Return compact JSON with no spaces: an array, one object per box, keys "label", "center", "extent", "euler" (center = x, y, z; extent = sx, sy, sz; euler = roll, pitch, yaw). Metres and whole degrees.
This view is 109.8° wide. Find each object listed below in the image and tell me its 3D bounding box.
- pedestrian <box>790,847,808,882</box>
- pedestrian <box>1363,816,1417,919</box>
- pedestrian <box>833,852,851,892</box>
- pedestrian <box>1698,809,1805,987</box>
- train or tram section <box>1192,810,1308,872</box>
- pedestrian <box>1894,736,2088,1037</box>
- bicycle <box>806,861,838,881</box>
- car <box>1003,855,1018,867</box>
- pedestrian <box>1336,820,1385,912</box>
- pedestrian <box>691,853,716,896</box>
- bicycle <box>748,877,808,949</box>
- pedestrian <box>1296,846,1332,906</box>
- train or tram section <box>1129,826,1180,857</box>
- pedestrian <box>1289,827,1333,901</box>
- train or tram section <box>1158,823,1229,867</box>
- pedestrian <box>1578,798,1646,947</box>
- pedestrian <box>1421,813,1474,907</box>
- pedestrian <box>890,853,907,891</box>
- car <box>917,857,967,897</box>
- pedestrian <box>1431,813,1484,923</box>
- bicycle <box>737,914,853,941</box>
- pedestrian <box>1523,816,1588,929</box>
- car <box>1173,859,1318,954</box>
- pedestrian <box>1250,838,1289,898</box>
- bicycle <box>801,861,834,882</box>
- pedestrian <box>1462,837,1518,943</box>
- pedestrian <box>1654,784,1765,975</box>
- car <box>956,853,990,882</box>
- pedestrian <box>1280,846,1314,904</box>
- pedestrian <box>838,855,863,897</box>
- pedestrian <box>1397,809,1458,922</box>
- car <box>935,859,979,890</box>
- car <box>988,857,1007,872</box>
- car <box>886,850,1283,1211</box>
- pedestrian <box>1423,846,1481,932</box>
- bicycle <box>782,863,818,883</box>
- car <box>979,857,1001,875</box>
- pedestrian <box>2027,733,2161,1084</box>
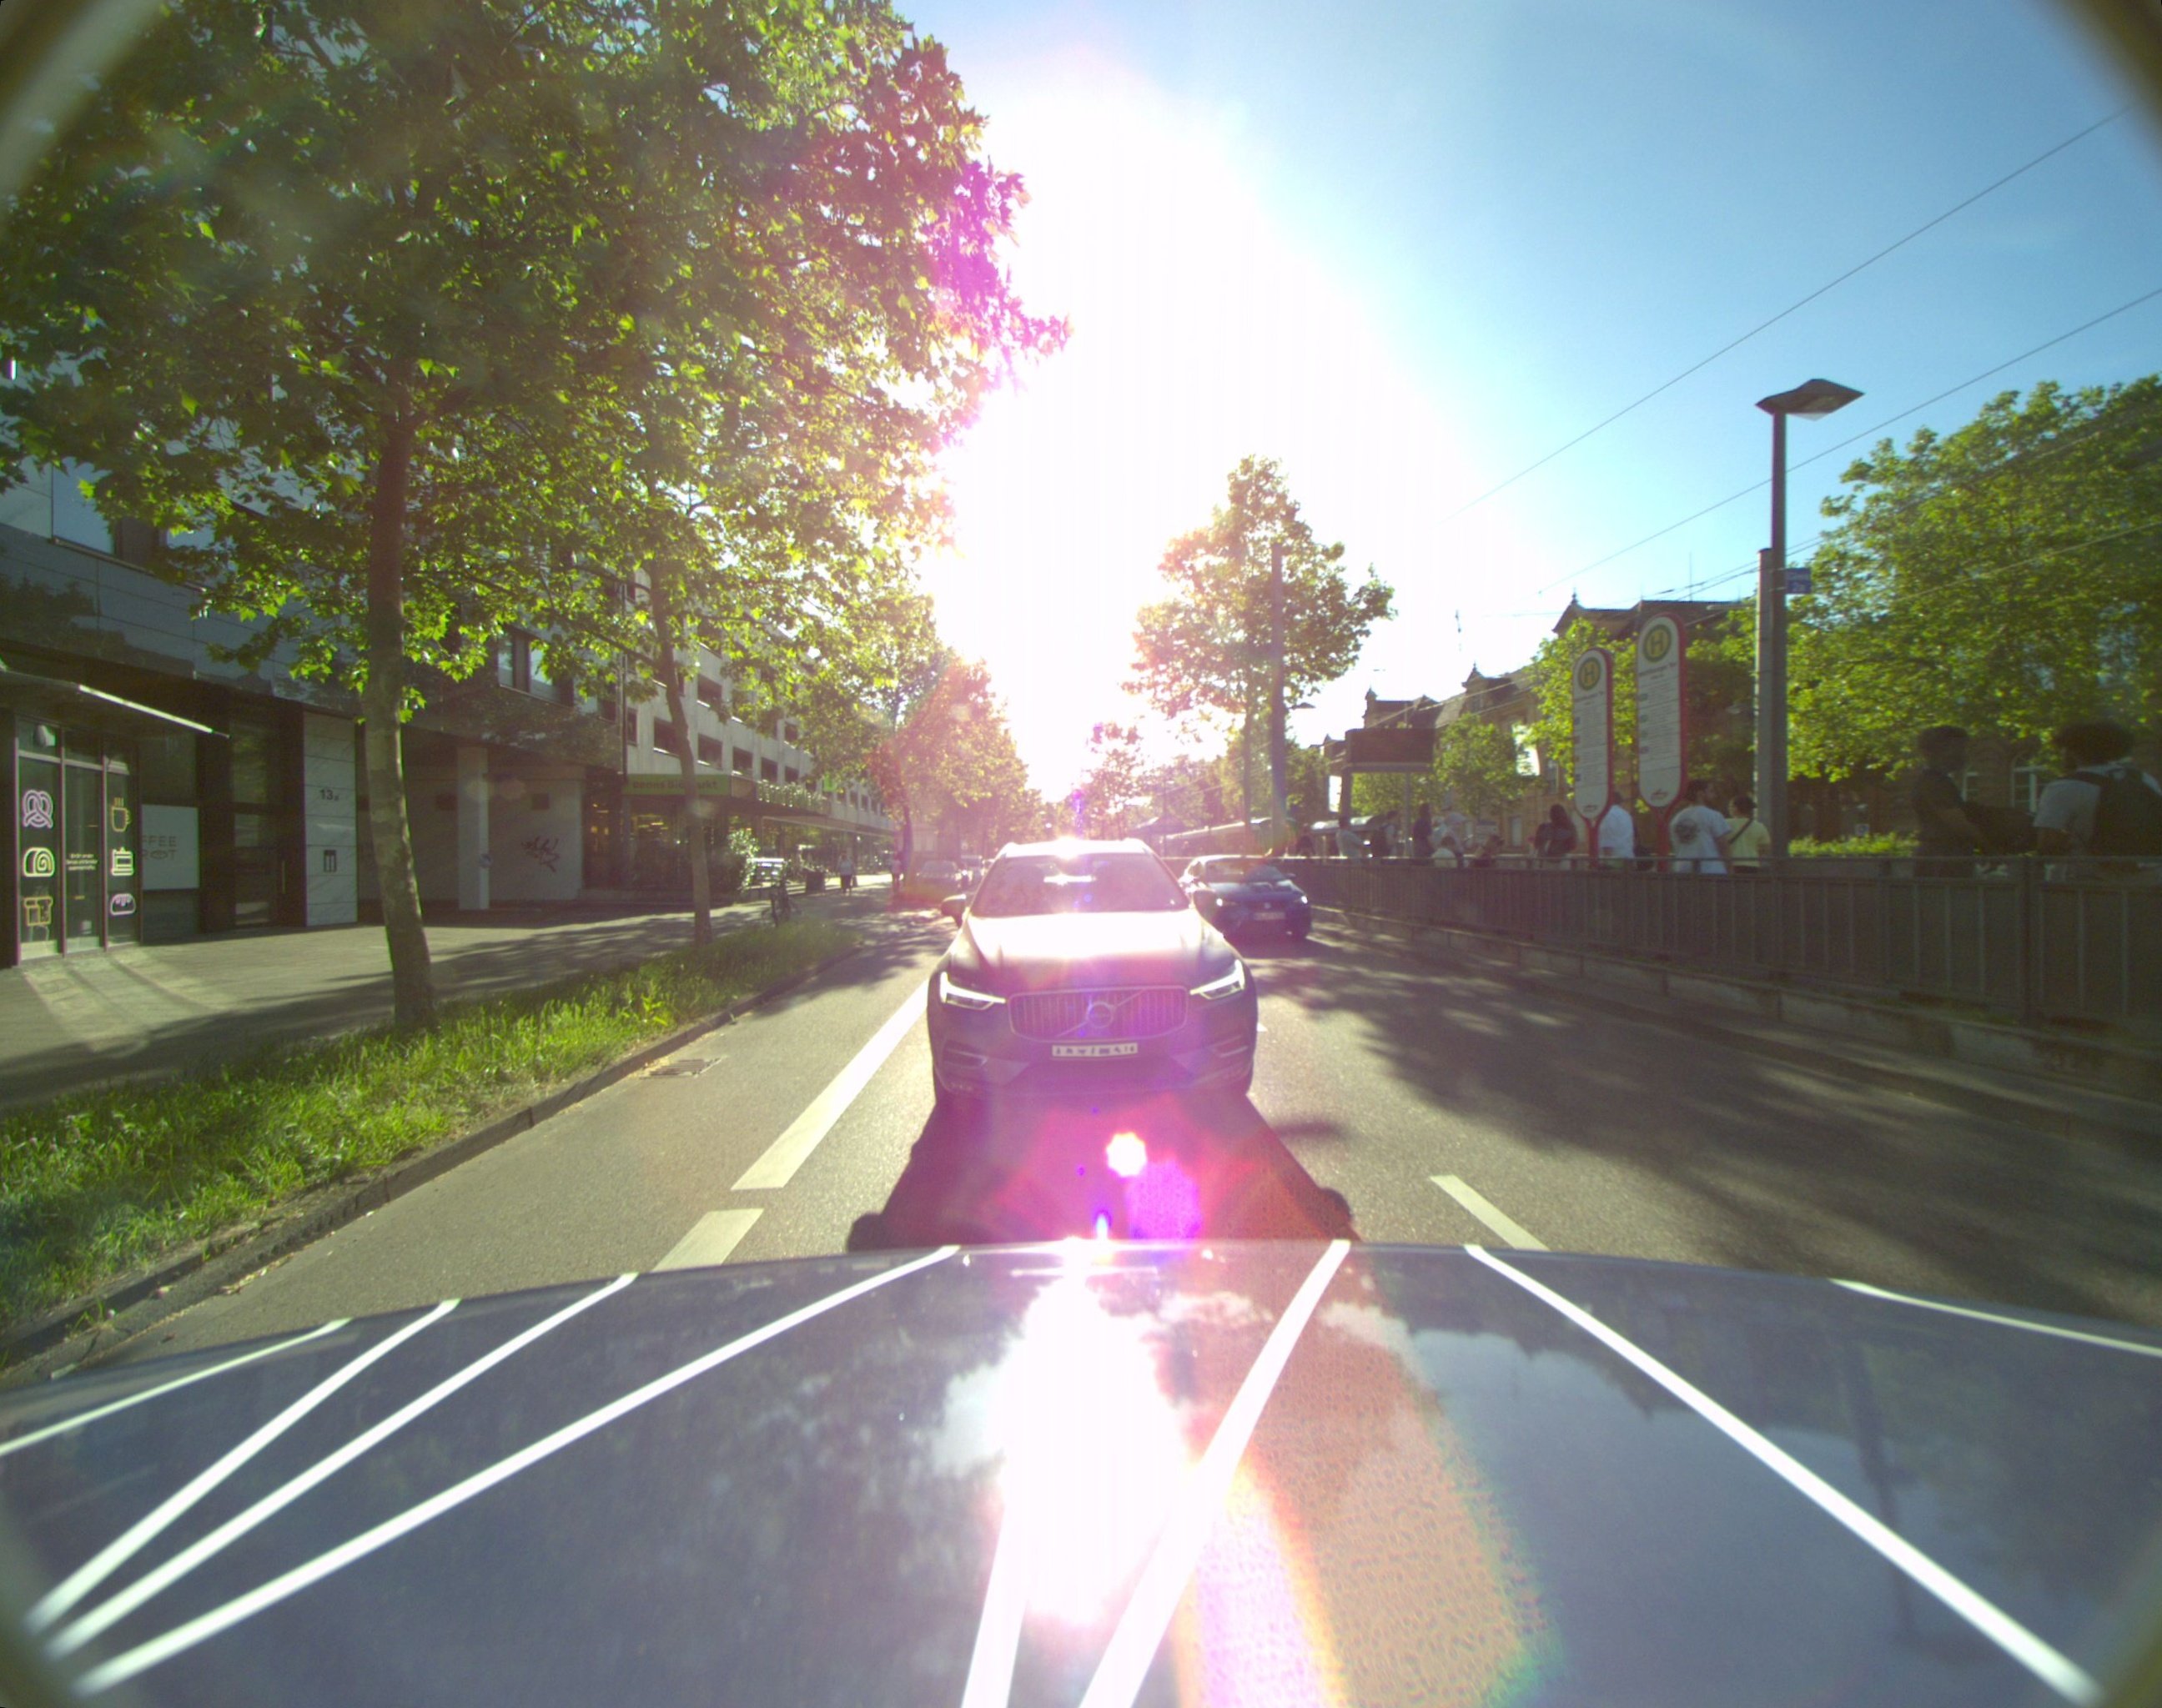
[{"label":"pedestrian","center":[-14.273,0.546,38.491],"extent":[0.614,1.705,0.611],"euler":[6,-1,-27]},{"label":"pedestrian","center":[5.159,0.215,12.718],"extent":[0.662,1.686,0.570],"euler":[0,1,-2]},{"label":"pedestrian","center":[-10.574,0.771,33.604],"extent":[0.561,1.734,0.878],"euler":[0,1,-3]},{"label":"pedestrian","center":[6.893,0.435,7.836],"extent":[0.555,1.760,0.611],"euler":[0,1,-7]},{"label":"train or tram section","center":[10.770,-0.721,51.446],"extent":[2.857,3.414,18.209],"euler":[-2,0,-3]},{"label":"pedestrian","center":[5.532,0.185,4.644],"extent":[0.549,1.724,0.539],"euler":[0,1,-7]},{"label":"bicycle","center":[-14.401,0.949,42.278],"extent":[1.700,1.049,0.587],"euler":[2,0,24]},{"label":"car","center":[-9.836,0.916,106.688],"extent":[1.839,1.556,4.272],"euler":[-2,0,-3]},{"label":"pedestrian","center":[5.068,0.211,13.798],"extent":[0.662,1.624,0.570],"euler":[0,1,-2]},{"label":"pedestrian","center":[-14.858,0.799,29.910],"extent":[0.559,1.668,0.882],"euler":[2,1,-3]},{"label":"bicycle","center":[-5.373,1.002,13.570],"extent":[0.791,1.126,1.843],"euler":[0,0,-15]},{"label":"pedestrian","center":[4.908,0.458,16.038],"extent":[0.535,1.239,0.604],"euler":[0,1,-5]},{"label":"train or tram section","center":[6.572,-1.032,70.456],"extent":[2.570,2.517,15.068],"euler":[-1,0,-3]},{"label":"pedestrian","center":[5.508,0.234,18.207],"extent":[0.778,1.742,0.723],"euler":[0,1,-6]},{"label":"train or tram section","center":[9.925,-0.738,69.688],"extent":[2.879,3.414,18.270],"euler":[-2,0,-3]},{"label":"pedestrian","center":[6.278,0.214,9.006],"extent":[0.610,1.692,0.508],"euler":[0,1,30]},{"label":"pedestrian","center":[6.550,0.100,13.612],"extent":[0.620,1.640,0.622],"euler":[0,1,-7]},{"label":"pedestrian","center":[-8.149,0.796,33.976],"extent":[0.561,1.694,1.051],"euler":[0,0,-3]},{"label":"car","center":[-5.975,0.947,32.947],"extent":[1.569,1.541,3.999],"euler":[-1,0,-2]},{"label":"pedestrian","center":[5.966,0.213,12.072],"extent":[0.516,1.698,0.621],"euler":[0,1,-3]},{"label":"bicycle","center":[-5.152,1.324,13.833],"extent":[1.613,0.351,1.388],"euler":[0,0,-3]},{"label":"pedestrian","center":[6.471,0.243,10.388],"extent":[0.546,1.510,0.530],"euler":[0,1,-3]},{"label":"car","center":[2.825,0.838,13.879],"extent":[1.707,1.407,3.875],"euler":[-2,0,-1]},{"label":"pedestrian","center":[4.842,0.355,19.564],"extent":[0.778,1.501,0.751],"euler":[0,1,-6]},{"label":"bicycle","center":[-14.328,0.960,41.313],"extent":[1.700,1.049,0.587],"euler":[1,-1,24]},{"label":"pedestrian","center":[5.166,0.442,9.615],"extent":[0.417,1.308,0.507],"euler":[0,1,-5]},{"label":"pedestrian","center":[5.801,0.225,7.041],"extent":[0.507,1.692,0.611],"euler":[0,1,-7]},{"label":"car","center":[-7.009,0.856,49.719],"extent":[1.769,1.781,4.392],"euler":[0,0,-3]},{"label":"pedestrian","center":[4.844,0.460,17.051],"extent":[0.535,1.292,0.604],"euler":[0,1,-6]},{"label":"pedestrian","center":[-8.959,0.834,29.528],"extent":[0.699,1.603,0.868],"euler":[1,0,-1]},{"label":"pedestrian","center":[5.287,0.175,11.624],"extent":[0.662,1.686,0.570],"euler":[0,1,-2]},{"label":"car","center":[-6.460,1.028,40.020],"extent":[1.766,1.409,4.698],"euler":[-1,0,-4]},{"label":"car","center":[-8.270,1.036,75.468],"extent":[1.630,1.433,3.929],"euler":[1,0,-3]},{"label":"car","center":[-0.076,0.849,5.869],"extent":[1.914,1.695,4.272],"euler":[-2,1,-3]},{"label":"pedestrian","center":[5.248,0.482,10.762],"extent":[0.546,1.185,0.530],"euler":[0,1,-3]},{"label":"bicycle","center":[-13.807,0.947,37.343],"extent":[1.648,0.910,0.587],"euler":[1,-2,24]},{"label":"car","center":[-7.778,0.995,65.202],"extent":[1.678,1.430,3.688],"euler":[2,1,-4]},{"label":"pedestrian","center":[5.436,0.268,3.981],"extent":[0.541,1.724,0.548],"euler":[-1,1,-44]}]
